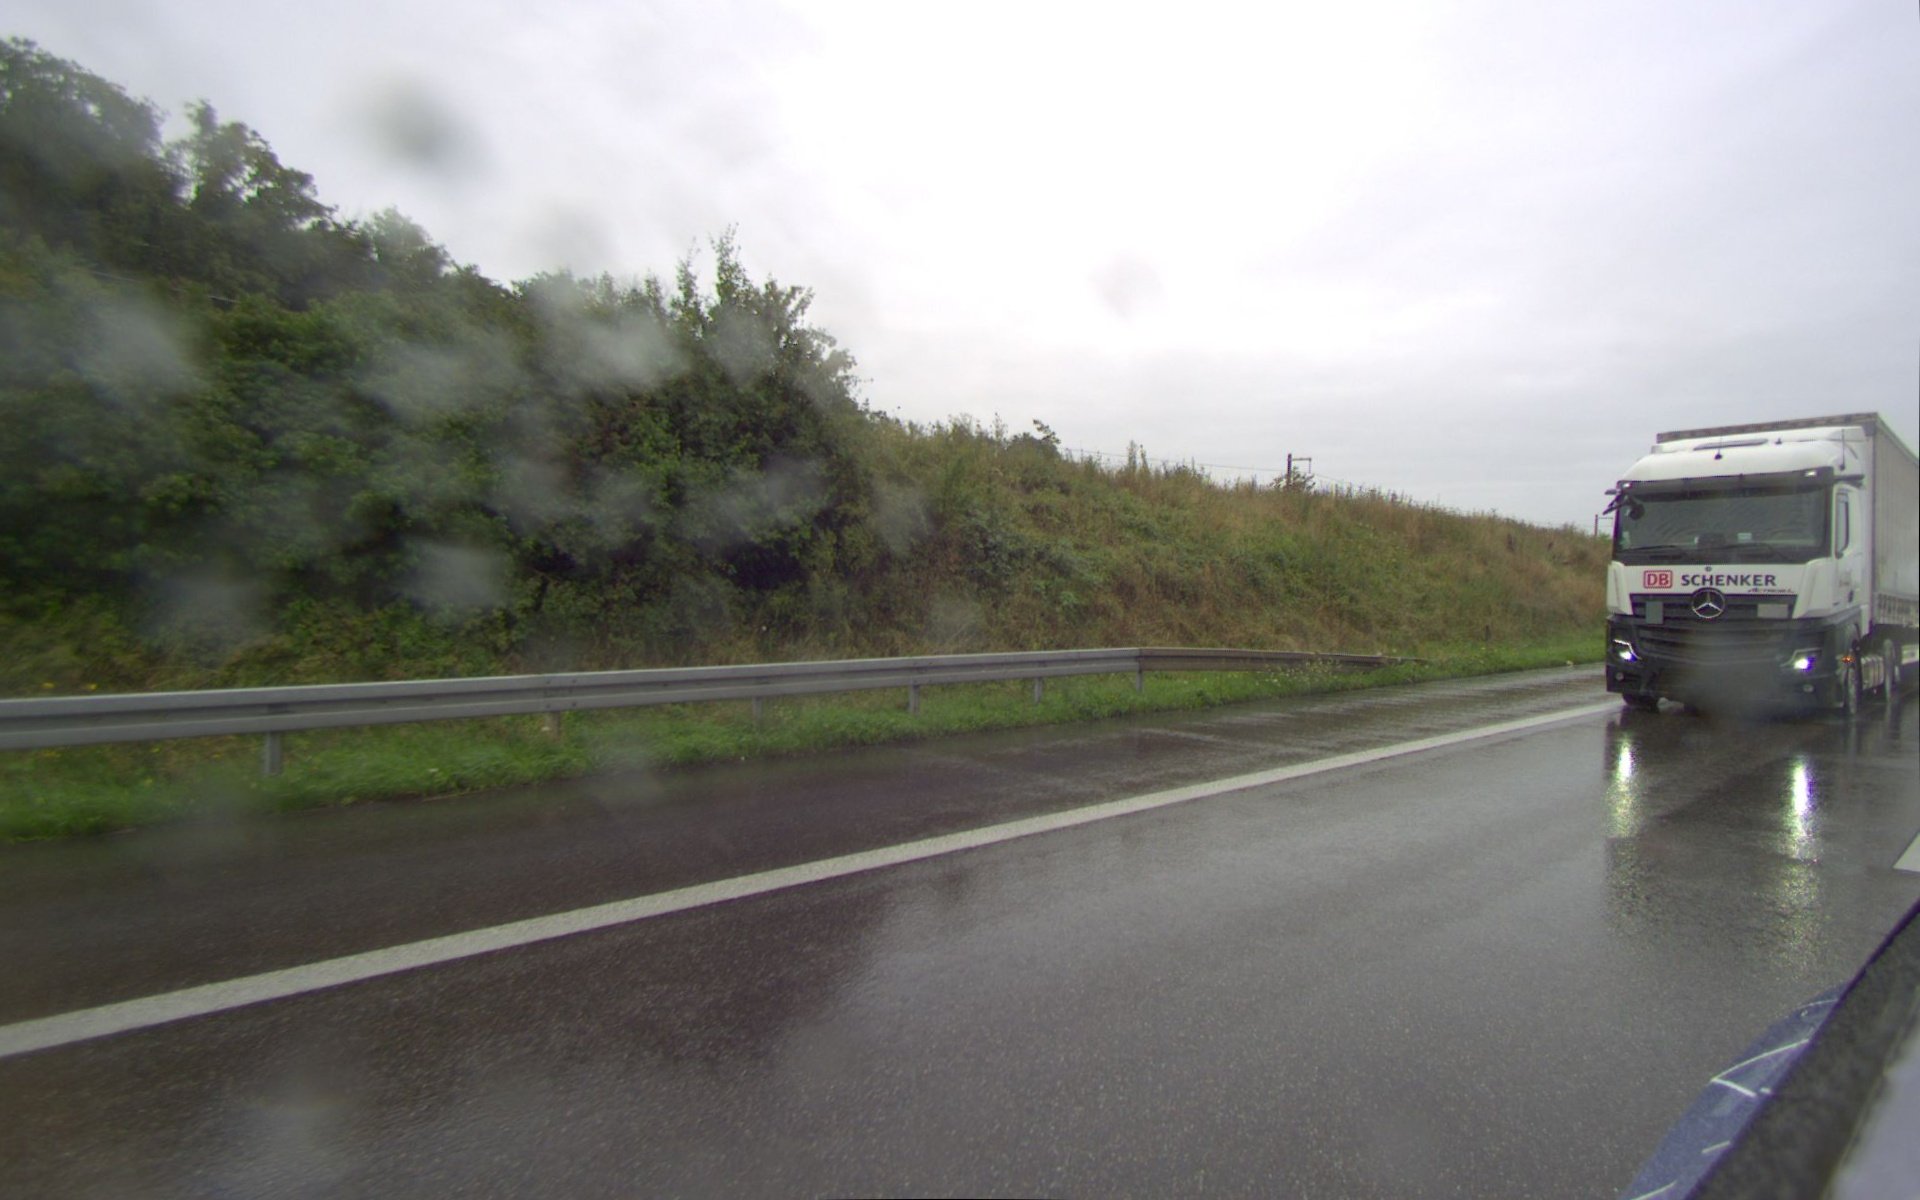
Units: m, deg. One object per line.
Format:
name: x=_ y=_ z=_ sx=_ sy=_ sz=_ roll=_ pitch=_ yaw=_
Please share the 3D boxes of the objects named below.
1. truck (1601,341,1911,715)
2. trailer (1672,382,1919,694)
truck: x=11.342 y=-0.853 z=14.290 sx=4.956 sy=4.307 sz=2.630 roll=0 pitch=0 yaw=-42
trailer: x=17.325 y=-0.914 z=19.599 sx=13.930 sy=4.302 sz=2.631 roll=0 pitch=0 yaw=-41
